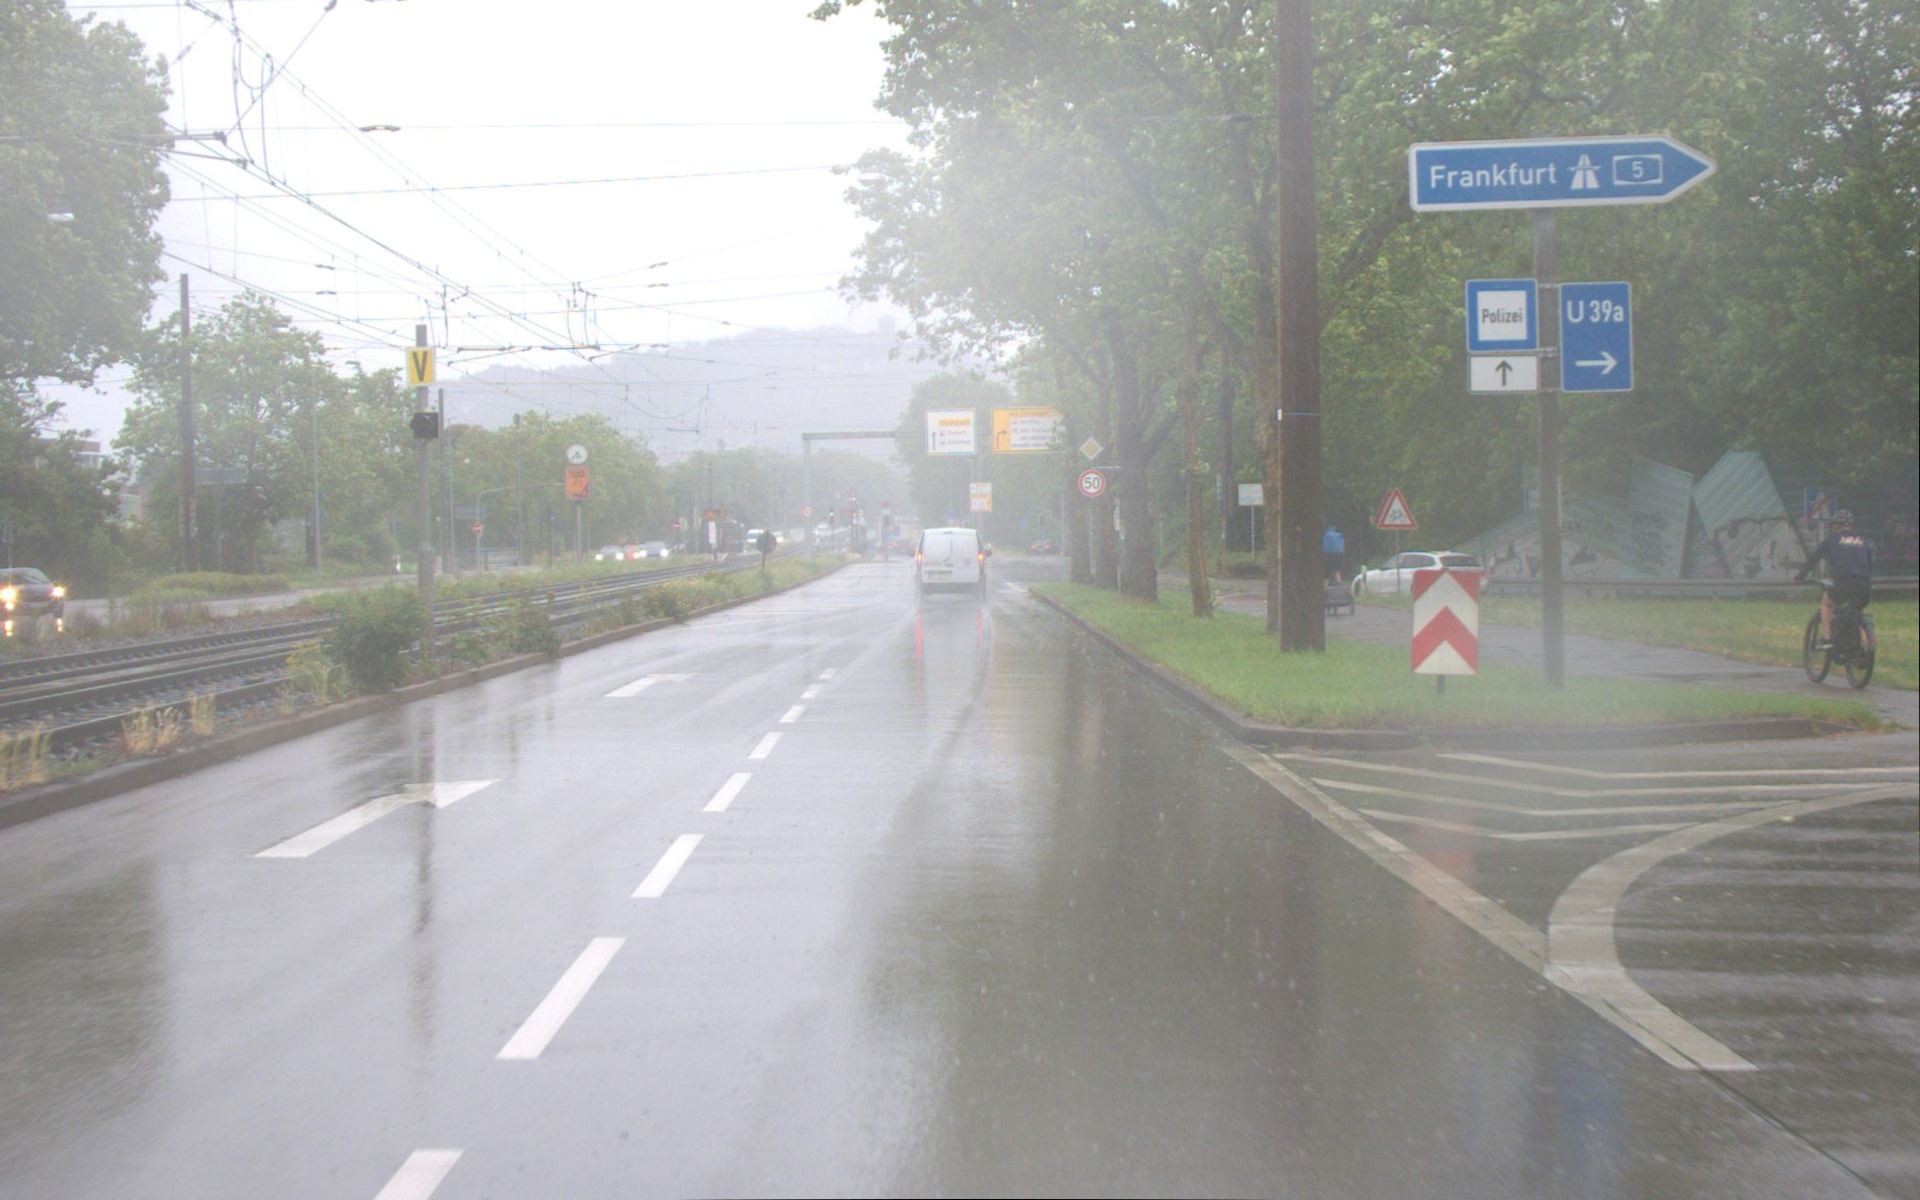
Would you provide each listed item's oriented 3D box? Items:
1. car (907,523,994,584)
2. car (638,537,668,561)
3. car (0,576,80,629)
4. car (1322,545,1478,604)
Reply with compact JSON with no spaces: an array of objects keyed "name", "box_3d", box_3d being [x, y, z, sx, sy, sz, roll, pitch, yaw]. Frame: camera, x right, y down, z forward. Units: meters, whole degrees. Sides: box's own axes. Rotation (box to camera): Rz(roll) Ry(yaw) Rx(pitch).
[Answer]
[{"name":"car","box_3d":[-0.258,-1.149,85.250,2.077,1.415,4.000,-2,1,-1]},{"name":"car","box_3d":[-21.139,-3.529,237.040,1.943,1.610,4.989,-1,1,-4]},{"name":"car","box_3d":[-25.805,0.056,95.725,1.682,1.401,3.940,0,1,-2]},{"name":"car","box_3d":[11.847,-0.709,92.872,1.948,1.531,4.467,-1,1,-28]}]
